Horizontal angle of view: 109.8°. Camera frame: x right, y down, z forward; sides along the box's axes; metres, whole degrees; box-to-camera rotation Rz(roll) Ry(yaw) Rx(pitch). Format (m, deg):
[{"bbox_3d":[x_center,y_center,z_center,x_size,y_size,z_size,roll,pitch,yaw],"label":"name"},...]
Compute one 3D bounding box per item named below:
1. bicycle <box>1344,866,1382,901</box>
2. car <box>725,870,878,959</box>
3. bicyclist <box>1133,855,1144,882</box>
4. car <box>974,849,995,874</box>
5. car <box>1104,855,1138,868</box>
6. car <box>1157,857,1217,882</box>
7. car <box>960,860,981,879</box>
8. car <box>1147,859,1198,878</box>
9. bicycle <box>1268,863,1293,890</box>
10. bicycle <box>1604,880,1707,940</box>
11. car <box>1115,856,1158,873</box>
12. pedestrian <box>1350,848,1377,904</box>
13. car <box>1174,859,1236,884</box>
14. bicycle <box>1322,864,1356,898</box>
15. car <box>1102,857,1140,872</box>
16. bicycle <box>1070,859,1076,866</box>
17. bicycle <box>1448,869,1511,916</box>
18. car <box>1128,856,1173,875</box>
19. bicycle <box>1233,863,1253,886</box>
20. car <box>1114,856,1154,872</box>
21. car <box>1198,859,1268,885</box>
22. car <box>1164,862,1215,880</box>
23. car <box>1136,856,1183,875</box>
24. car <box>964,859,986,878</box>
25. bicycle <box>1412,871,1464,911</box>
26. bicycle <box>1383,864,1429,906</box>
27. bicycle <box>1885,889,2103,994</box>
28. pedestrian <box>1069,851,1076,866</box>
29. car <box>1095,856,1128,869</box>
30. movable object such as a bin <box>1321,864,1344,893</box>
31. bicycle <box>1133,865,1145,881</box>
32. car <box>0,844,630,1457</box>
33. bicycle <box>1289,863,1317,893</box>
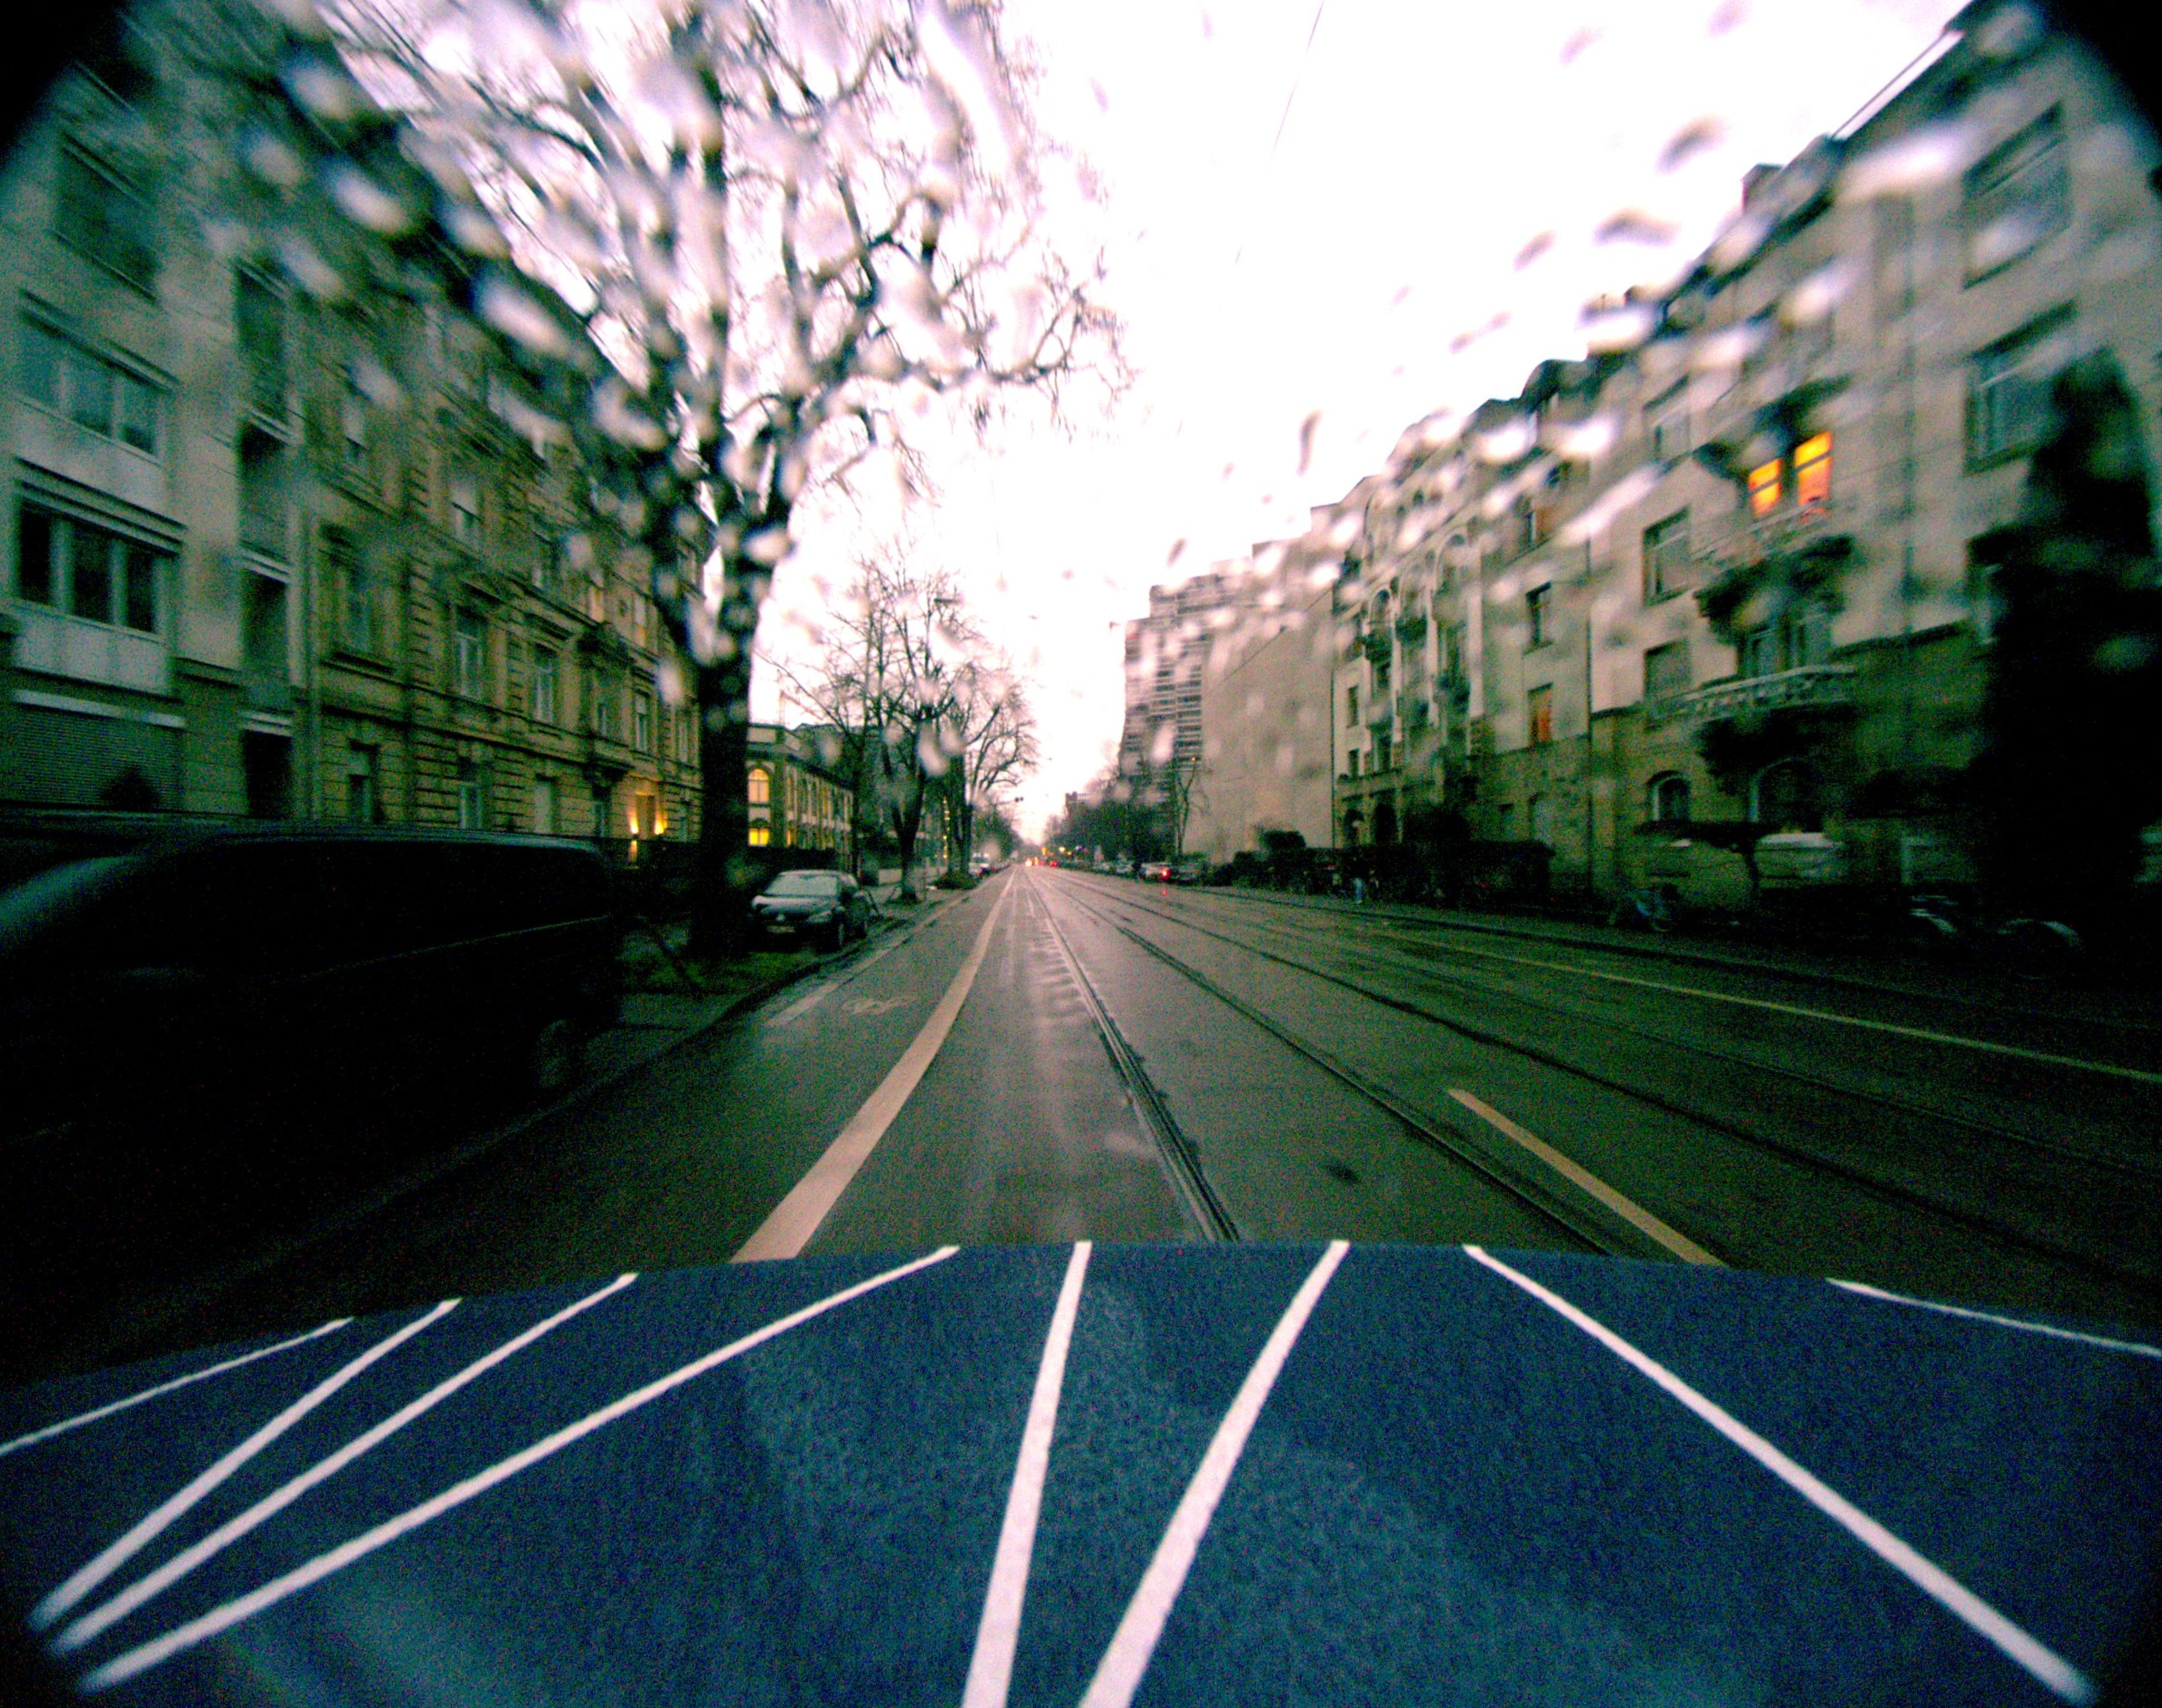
[{"bbox_3d":[9.623,0.983,25.948,0.625,1.157,1.662,-1,0,-2],"label":"bicycle"},{"bbox_3d":[-5.249,1.069,14.863,1.763,1.437,4.156,1,-1,-5],"label":"car"},{"bbox_3d":[4.072,0.999,53.602,0.625,1.865,0.991,-1,0,-2],"label":"bicyclist"},{"bbox_3d":[-10.502,0.750,82.593,2.094,2.622,5.445,-1,1,-7],"label":"car"},{"bbox_3d":[4.998,0.927,95.087,4.008,1.586,1.864,-1,0,-41],"label":"car"},{"bbox_3d":[7.241,1.055,51.945,4.008,1.586,1.864,-1,0,-41],"label":"car"},{"bbox_3d":[-9.053,1.236,62.491,1.629,1.399,3.997,-1,1,-7],"label":"car"},{"bbox_3d":[7.515,1.180,62.166,4.008,1.440,1.864,-1,0,-41],"label":"car"},{"bbox_3d":[9.050,1.004,34.554,0.625,1.205,1.662,-1,0,-2],"label":"bicycle"},{"bbox_3d":[10.651,1.011,14.154,0.625,0.997,1.662,-1,0,-2],"label":"bicycle"},{"bbox_3d":[5.523,1.000,75.358,4.008,1.586,1.864,-1,0,-41],"label":"car"},{"bbox_3d":[8.968,0.688,24.164,0.574,1.715,0.644,-2,2,0],"label":"pedestrian"},{"bbox_3d":[7.981,1.079,48.839,4.008,1.477,1.760,-1,0,-41],"label":"car"},{"bbox_3d":[9.532,0.980,28.151,0.625,1.205,1.662,-1,0,-2],"label":"bicycle"},{"bbox_3d":[4.399,1.114,83.861,4.008,1.586,1.864,-1,0,-41],"label":"car"},{"bbox_3d":[-1.210,1.285,113.865,0.858,0.986,1.918,-1,1,0],"label":"bicycle"},{"bbox_3d":[10.223,0.969,19.564,0.625,1.119,1.783,-1,0,-2],"label":"bicycle"},{"bbox_3d":[6.316,1.032,68.940,4.008,1.586,1.864,-1,0,-41],"label":"car"},{"bbox_3d":[8.445,1.068,39.709,0.625,1.157,1.662,-1,0,-2],"label":"bicycle"},{"bbox_3d":[5.471,0.986,78.520,4.008,1.586,1.864,-1,0,-41],"label":"car"},{"bbox_3d":[9.336,1.059,46.616,4.007,1.485,1.864,-1,0,-33],"label":"car"},{"bbox_3d":[7.940,1.224,55.490,3.674,1.245,1.707,0,0,-42],"label":"car"},{"bbox_3d":[6.906,0.961,66.417,4.008,1.586,1.864,-1,0,-41],"label":"car"},{"bbox_3d":[-10.082,1.326,72.691,2.000,1.672,3.997,-1,1,-7],"label":"car"},{"bbox_3d":[10.102,1.027,21.576,0.625,1.059,1.726,-1,0,-2],"label":"bicycle"},{"bbox_3d":[9.973,0.936,23.368,0.625,1.205,1.662,-1,0,-2],"label":"bicycle"},{"bbox_3d":[10.974,1.006,9.234,0.625,1.086,1.662,-1,0,-2],"label":"bicycle"},{"bbox_3d":[-1.223,0.682,113.853,0.952,2.246,1.119,-1,1,1],"label":"pedestrian"},{"bbox_3d":[3.946,1.094,97.210,4.008,1.586,1.864,-1,0,-41],"label":"car"},{"bbox_3d":[10.090,0.979,30.511,0.659,1.157,0.674,-1,0,-2],"label":"movable object such as a bin"},{"bbox_3d":[4.073,1.333,53.763,0.625,1.086,1.947,-1,0,-2],"label":"bicycle"},{"bbox_3d":[-4.385,0.904,3.427,2.036,1.864,4.961,0,0,-4],"label":"car"},{"bbox_3d":[9.319,0.977,31.976,0.625,1.205,1.662,-1,0,-2],"label":"bicycle"}]
